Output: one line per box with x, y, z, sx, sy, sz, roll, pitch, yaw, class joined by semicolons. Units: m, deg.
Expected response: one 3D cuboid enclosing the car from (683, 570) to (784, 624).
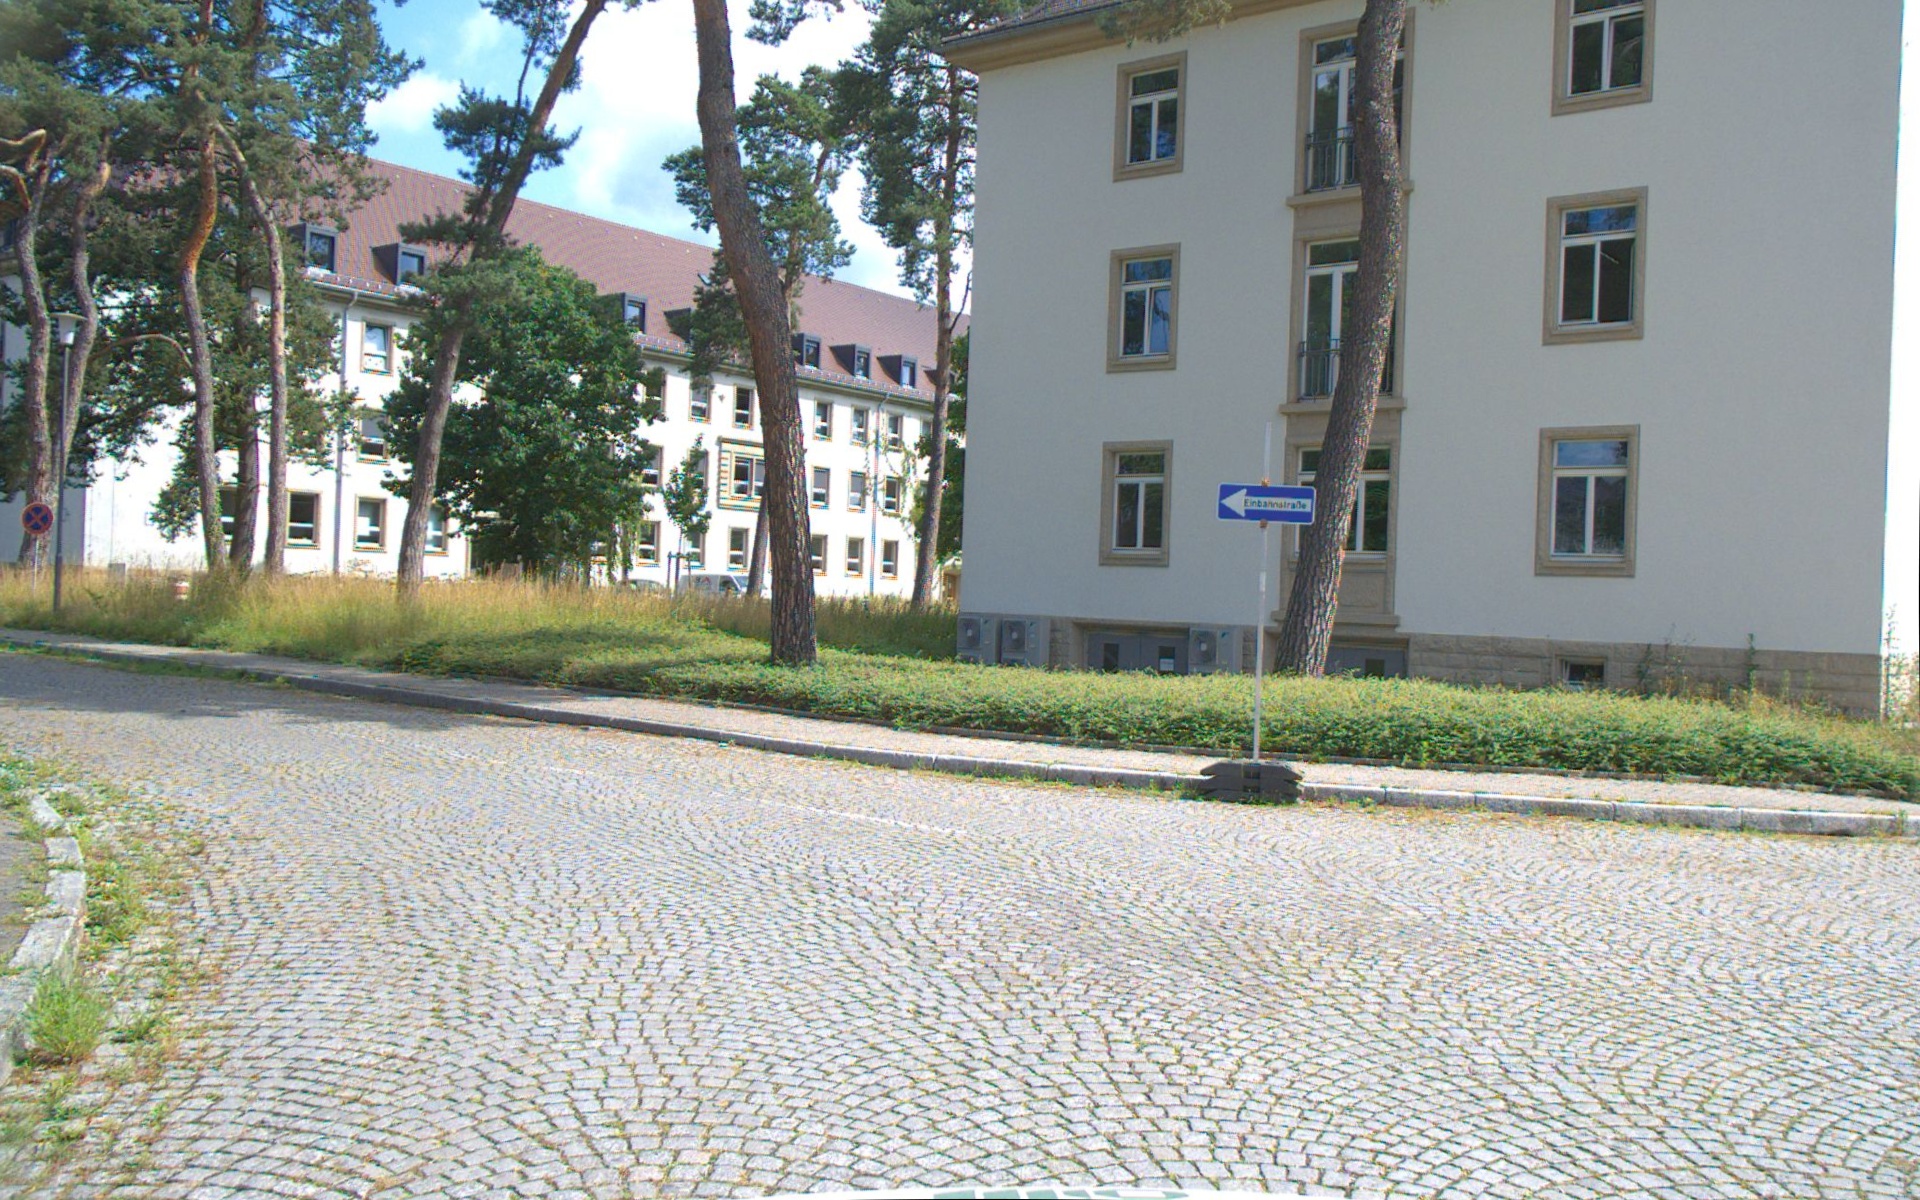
-9.141;-0.127;66.600;3.996;2.026;1.704;2;0;39;car

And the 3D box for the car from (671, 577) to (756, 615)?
-9.521;-0.151;63.792;3.233;1.367;1.418;2;0;39;car
